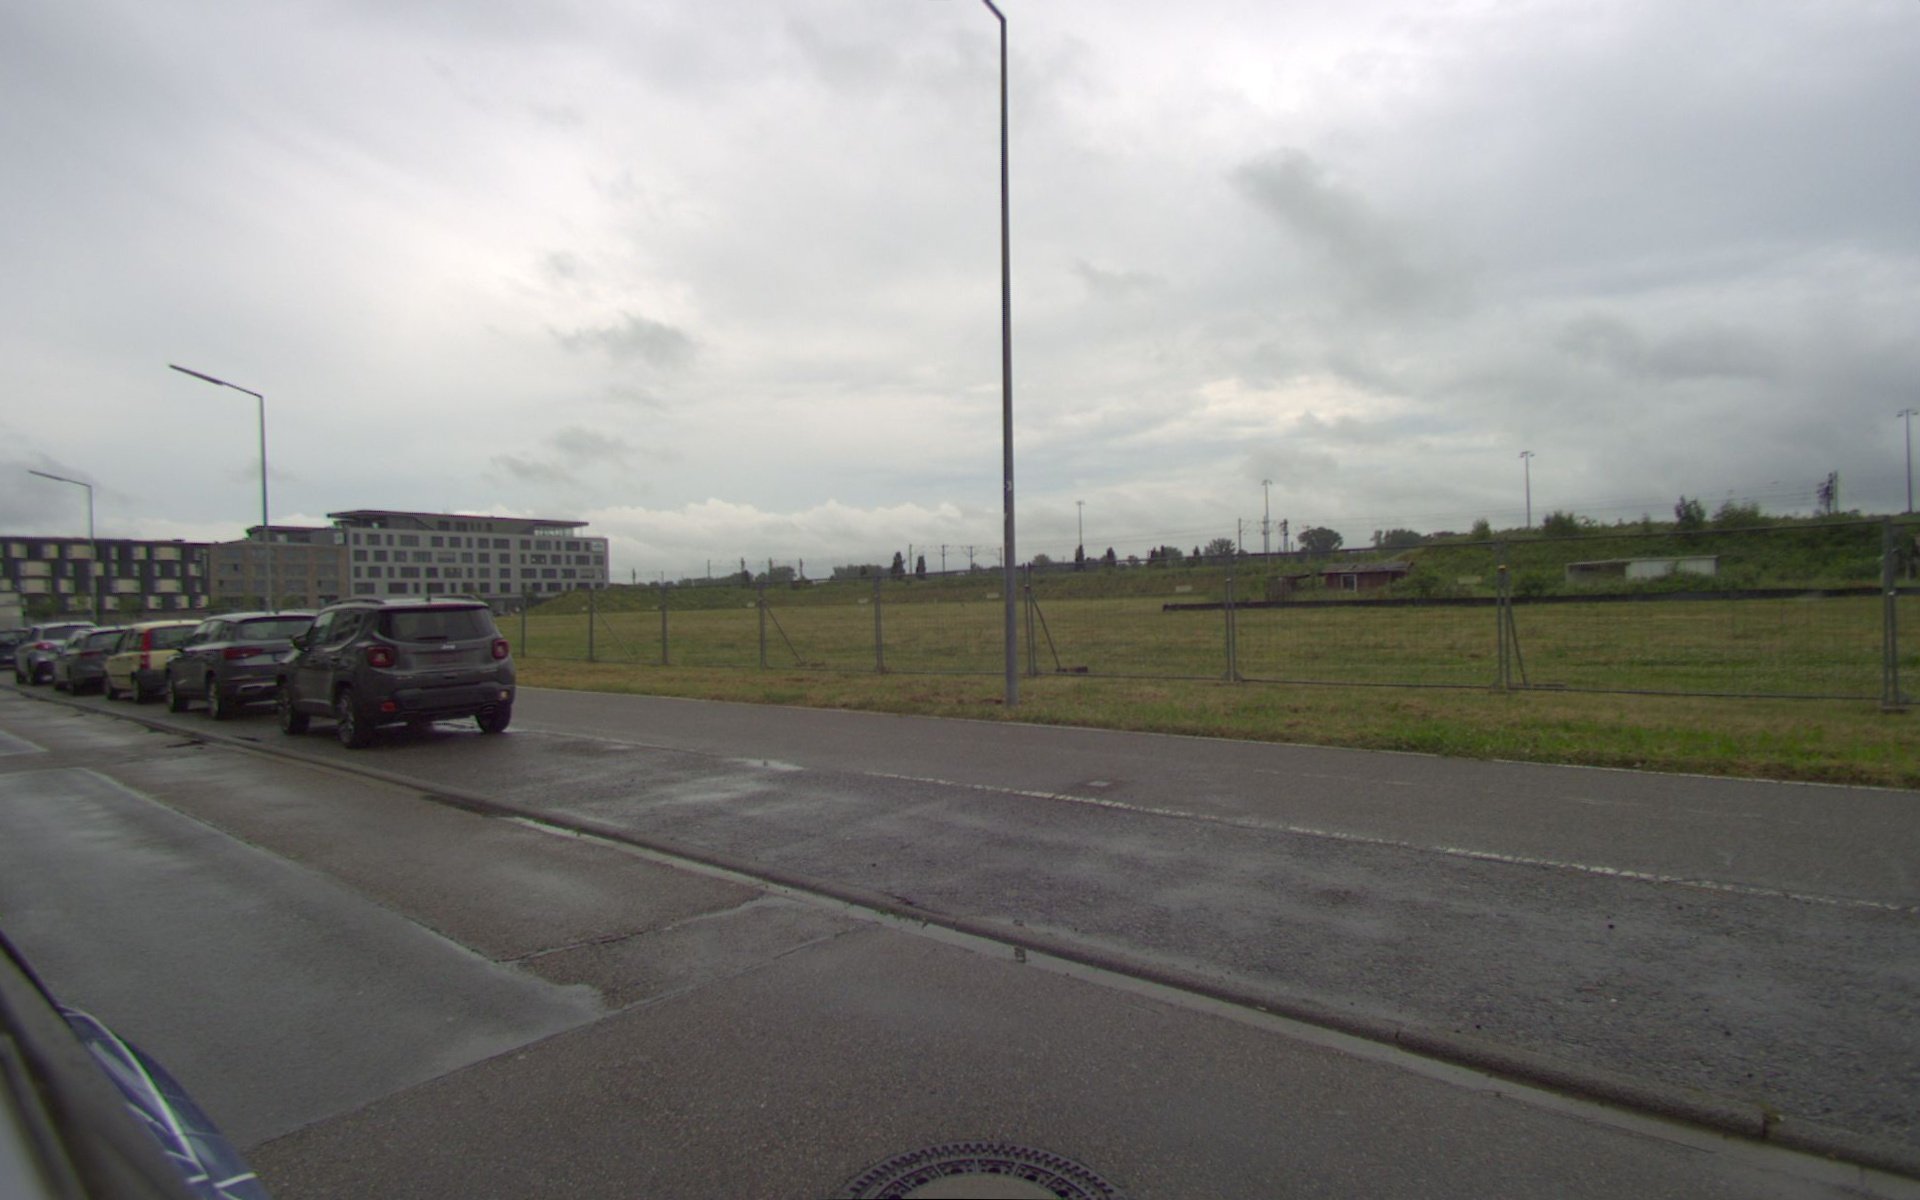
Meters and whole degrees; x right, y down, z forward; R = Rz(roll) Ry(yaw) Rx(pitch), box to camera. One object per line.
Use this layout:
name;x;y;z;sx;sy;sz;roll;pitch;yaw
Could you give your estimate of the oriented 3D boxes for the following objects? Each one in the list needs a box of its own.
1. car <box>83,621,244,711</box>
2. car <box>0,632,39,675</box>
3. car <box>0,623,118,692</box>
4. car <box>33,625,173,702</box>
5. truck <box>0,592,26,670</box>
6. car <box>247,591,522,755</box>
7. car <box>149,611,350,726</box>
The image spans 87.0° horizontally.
car;-16.221;1.254;20.548;4.207;1.587;1.708;-1;0;40
car;-34.983;1.950;36.878;4.154;1.474;1.655;-2;-1;41
car;-25.267;1.554;28.215;4.985;1.619;1.834;-2;2;40
car;-20.330;1.426;23.949;4.668;1.540;1.819;-1;2;42
truck;-41.026;1.346;42.031;6.695;3.091;2.411;-2;1;41
car;-7.546;0.839;13.019;4.882;1.705;1.733;-2;0;44
car;-11.718;1.055;16.592;4.131;1.602;1.734;-2;0;41
